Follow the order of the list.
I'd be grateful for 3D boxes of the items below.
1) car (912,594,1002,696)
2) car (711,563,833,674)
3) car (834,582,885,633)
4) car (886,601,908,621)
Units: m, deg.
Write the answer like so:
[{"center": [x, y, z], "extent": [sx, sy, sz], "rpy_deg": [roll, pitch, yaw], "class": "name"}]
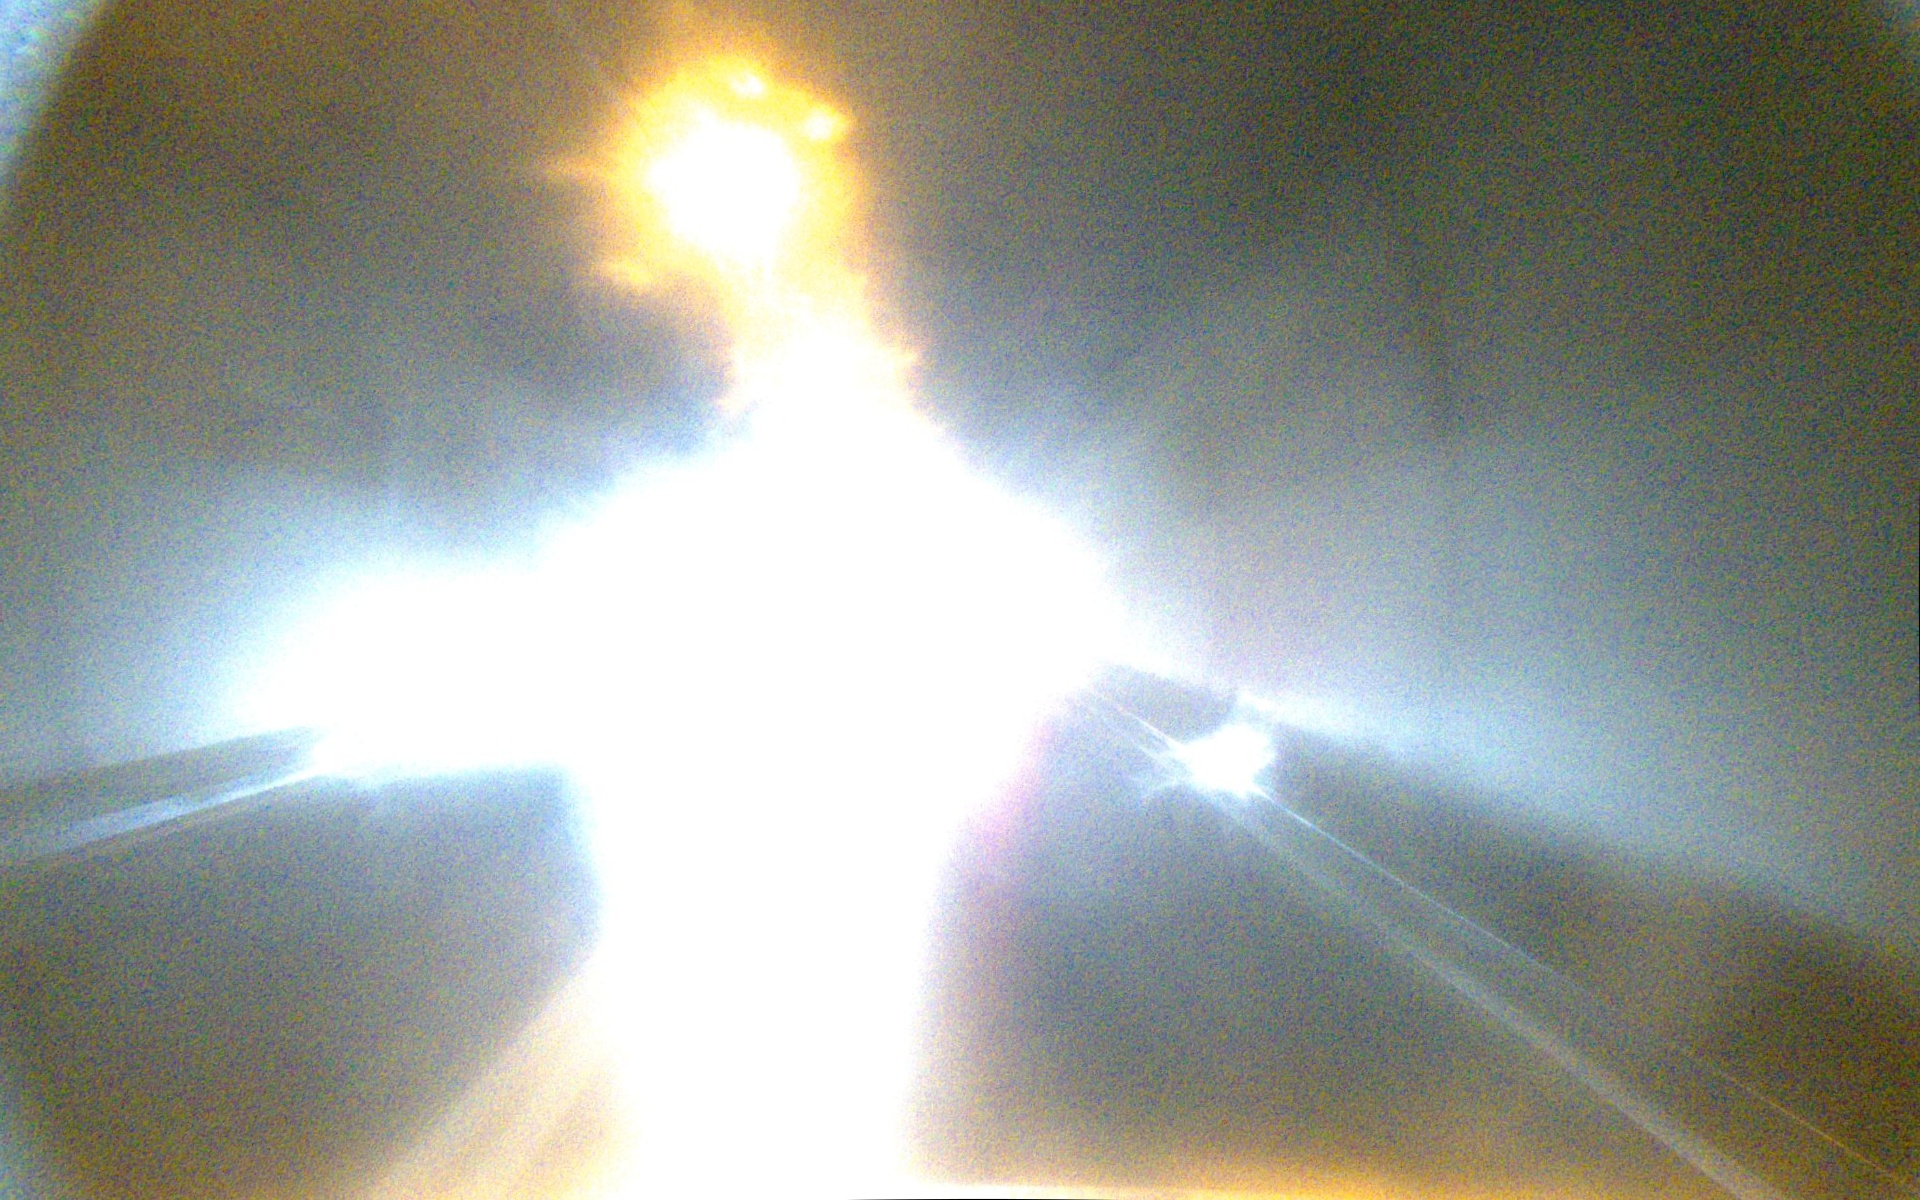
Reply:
[{"center": [-0.068, 0.807, 31.883], "extent": [1.602, 1.788, 4.145], "rpy_deg": [-1, 0, 0], "class": "car"}, {"center": [-3.499, 0.310, 31.498], "extent": [1.803, 1.933, 4.608], "rpy_deg": [-1, 0, 0], "class": "car"}, {"center": [-3.931, 0.256, 65.273], "extent": [1.725, 1.933, 4.608], "rpy_deg": [-1, 0, 0], "class": "car"}, {"center": [-5.110, 0.883, 134.112], "extent": [1.602, 1.562, 3.645], "rpy_deg": [-1, 0, 0], "class": "car"}]
